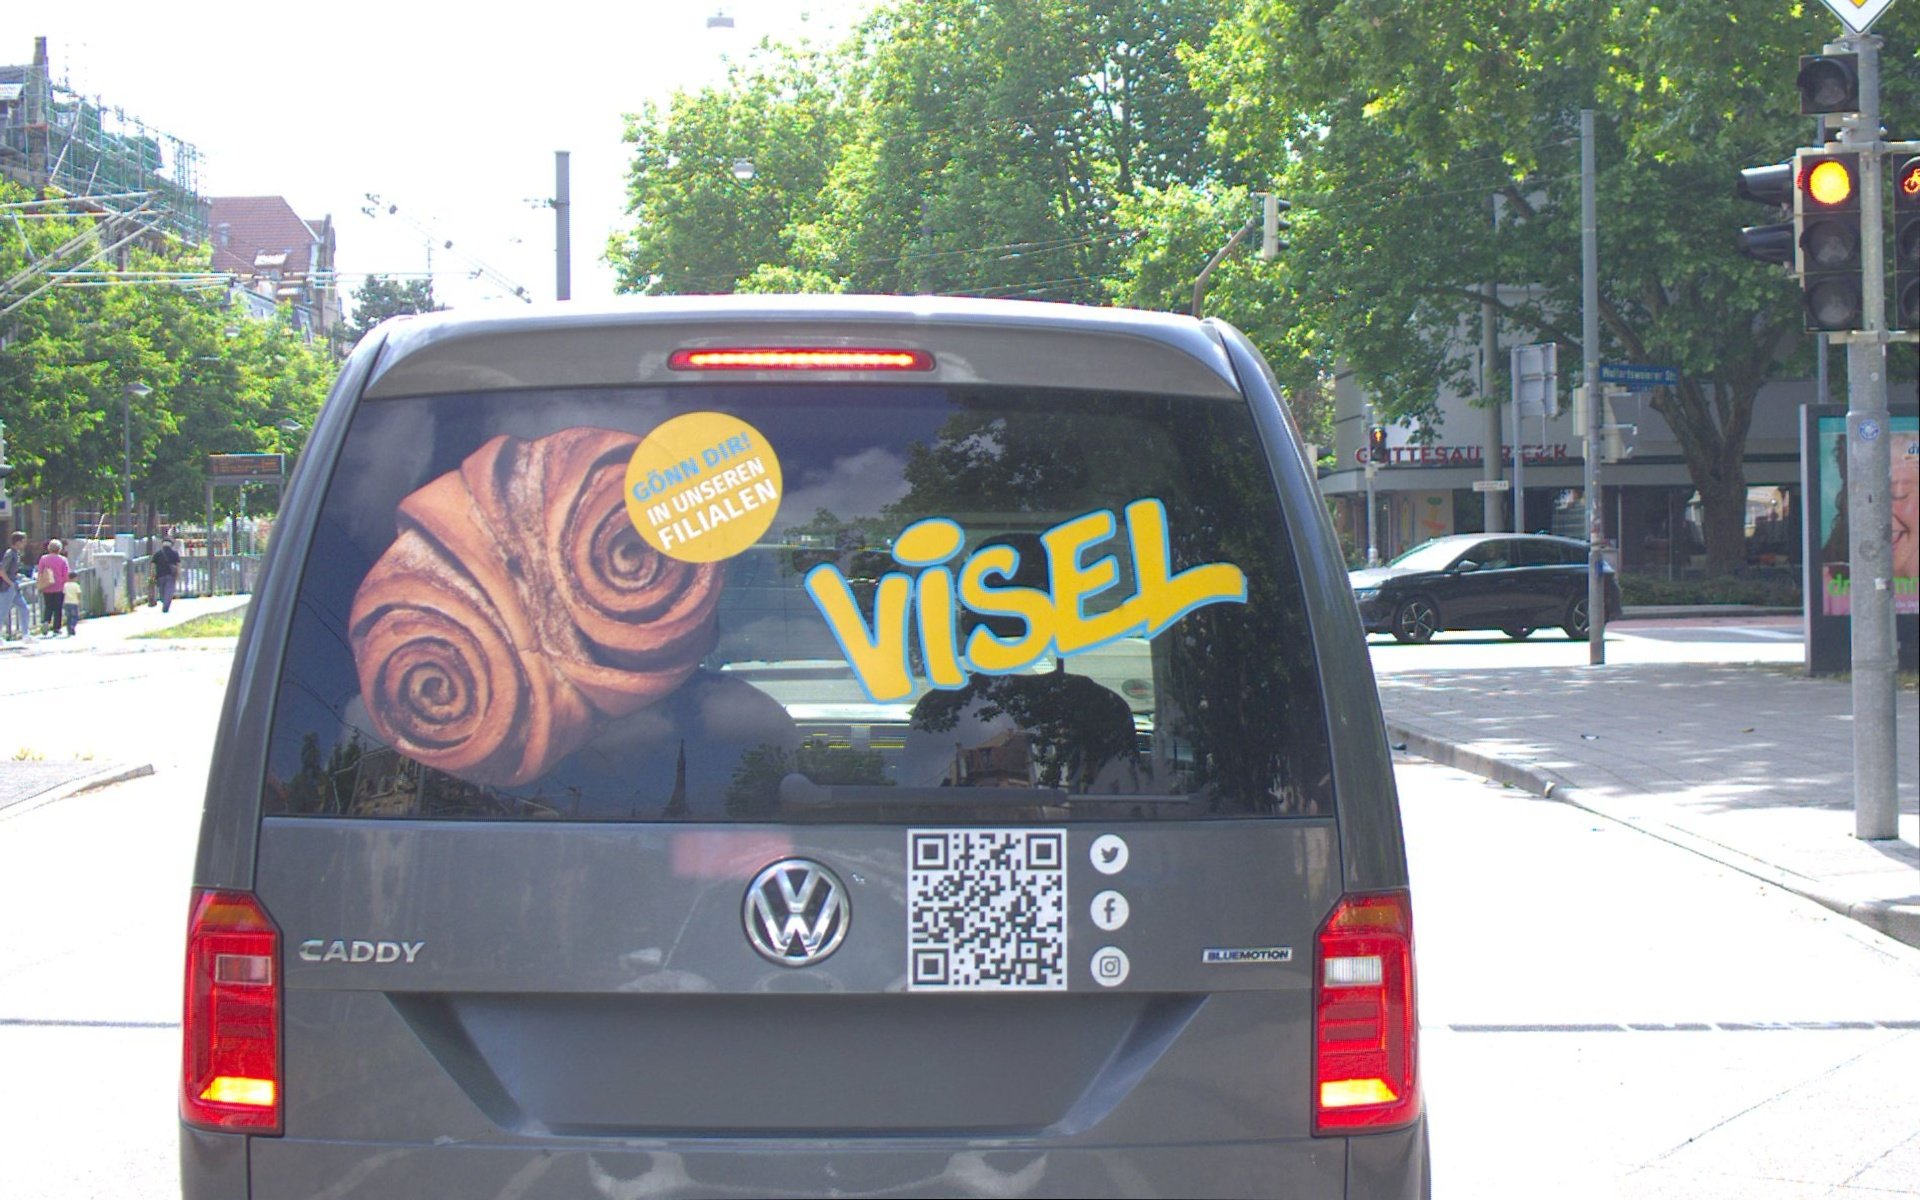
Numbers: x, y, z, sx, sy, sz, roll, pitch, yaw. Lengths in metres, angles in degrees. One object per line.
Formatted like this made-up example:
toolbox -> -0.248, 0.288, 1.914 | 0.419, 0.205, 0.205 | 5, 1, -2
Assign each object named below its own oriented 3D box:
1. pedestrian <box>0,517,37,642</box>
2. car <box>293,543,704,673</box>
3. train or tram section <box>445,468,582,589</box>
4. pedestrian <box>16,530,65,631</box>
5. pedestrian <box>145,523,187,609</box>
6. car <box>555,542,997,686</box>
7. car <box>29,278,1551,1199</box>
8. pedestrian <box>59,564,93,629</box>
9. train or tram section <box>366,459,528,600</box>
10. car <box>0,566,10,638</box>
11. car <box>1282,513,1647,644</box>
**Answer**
pedestrian -> -15.272, -0.341, 55.763 | 0.477, 2.007, 0.420 | -1, 1, -5
car -> -5.434, 0.065, 40.539 | 4.480, 1.385, 1.707 | -2, 1, -24
train or tram section -> -13.141, -2.130, 102.234 | 2.240, 3.320, 14.014 | -1, 1, 0
pedestrian -> -16.456, -0.353, 61.562 | 0.659, 1.778, 0.660 | -1, 1, 0
pedestrian -> -15.663, -0.669, 67.822 | 0.659, 1.679, 0.655 | -1, 1, 0
car -> -2.026, 0.124, 38.075 | 4.554, 1.431, 1.707 | -2, 1, -24
car -> -0.209, 0.501, 5.713 | 1.750, 1.802, 3.475 | 0, 1, 0
pedestrian -> -15.787, -0.070, 61.409 | 0.463, 1.140, 0.435 | -1, 1, 0
train or tram section -> -13.092, -1.822, 88.831 | 2.240, 3.320, 12.972 | -1, 1, 0
car -> -27.780, 0.110, 94.866 | 1.993, 2.007, 4.000 | -1, 1, 0
car -> 6.740, -0.308, 45.881 | 4.479, 1.596, 1.864 | -2, 1, -23
